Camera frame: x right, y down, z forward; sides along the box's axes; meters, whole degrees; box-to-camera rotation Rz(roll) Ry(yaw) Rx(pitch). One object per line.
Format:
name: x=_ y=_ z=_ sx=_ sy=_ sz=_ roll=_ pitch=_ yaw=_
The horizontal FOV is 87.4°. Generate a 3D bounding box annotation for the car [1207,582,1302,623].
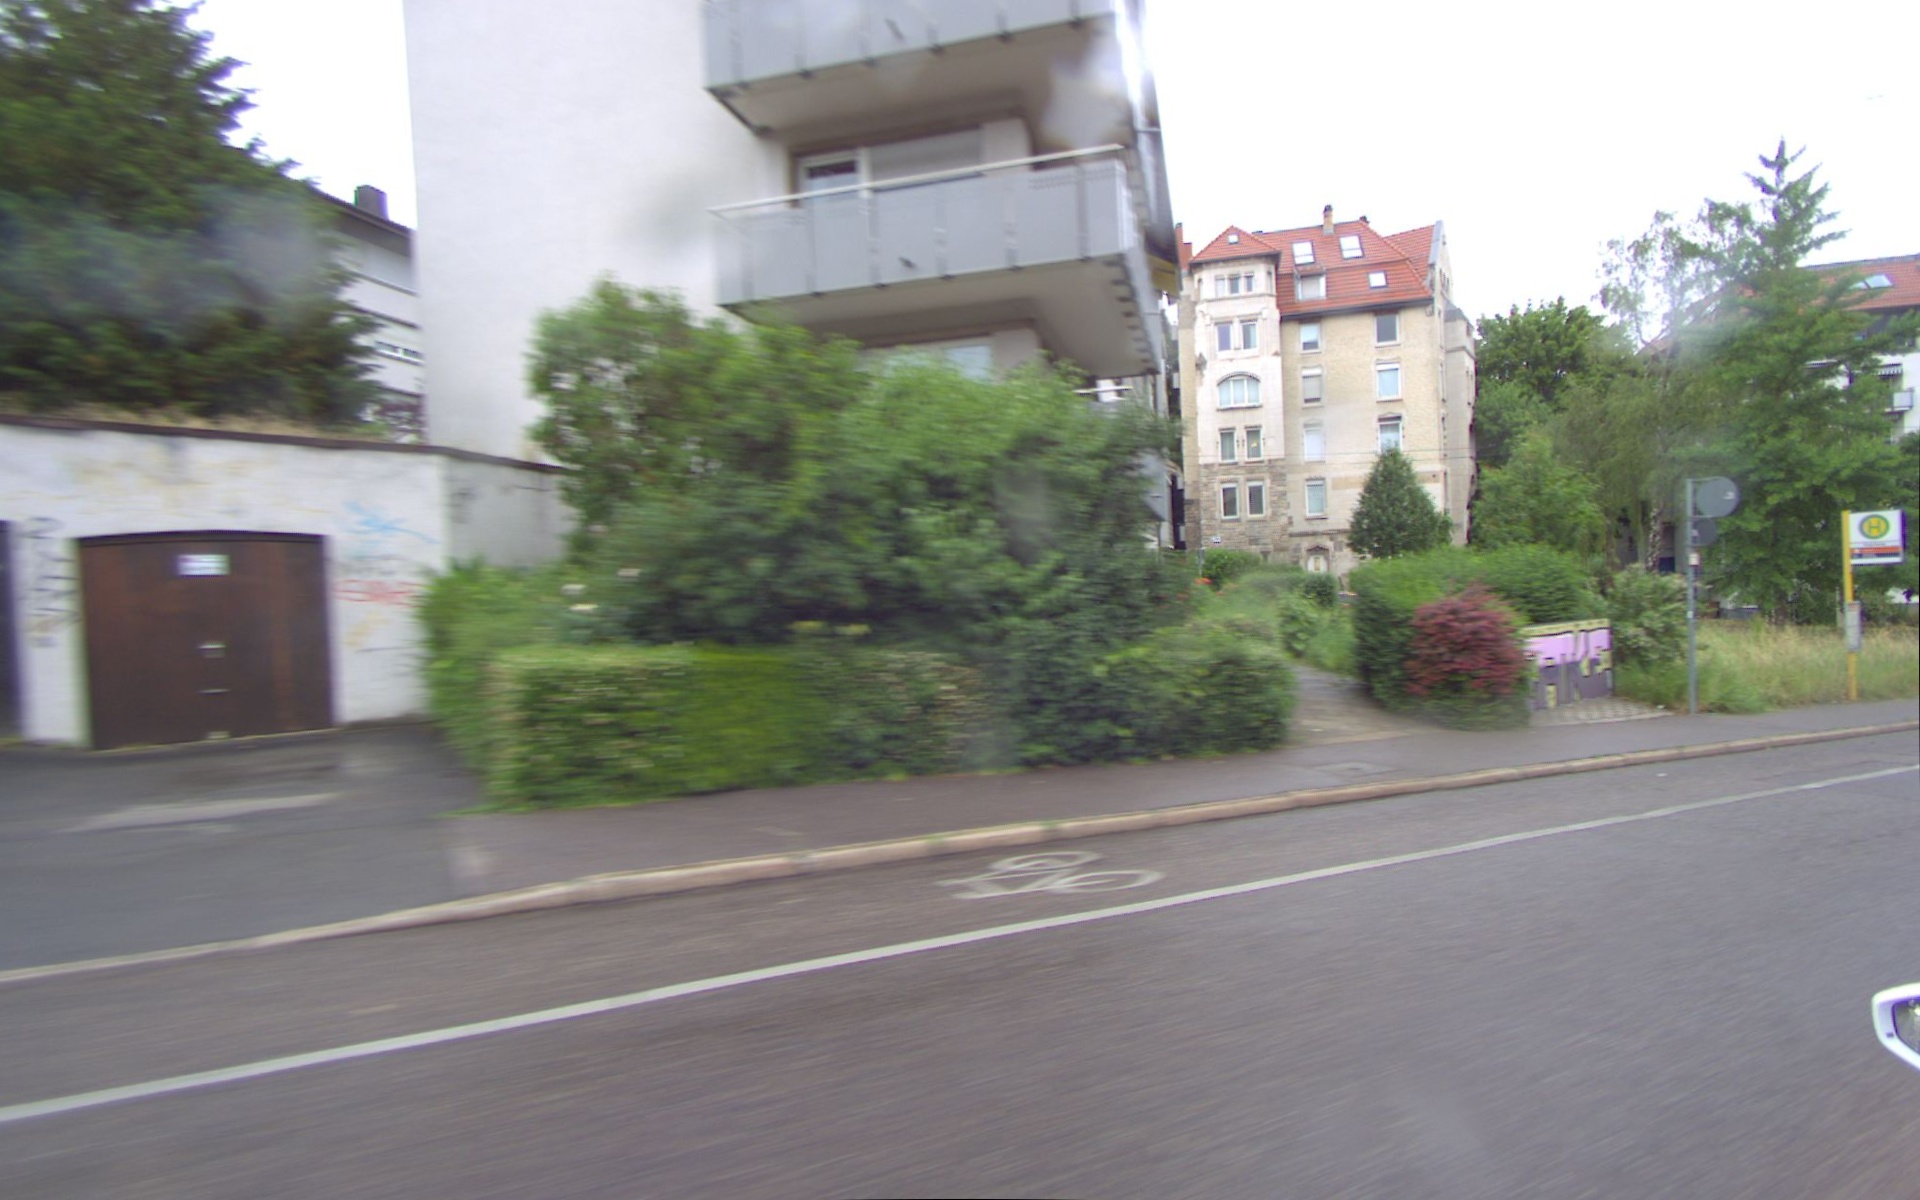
car: x=13.910 y=0.080 z=47.648 sx=4.197 sy=1.859 sz=1.807 roll=1 pitch=1 yaw=12

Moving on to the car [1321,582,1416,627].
car: x=18.905 y=0.206 z=46.645 sx=3.920 sy=2.040 sz=2.000 roll=0 pitch=0 yaw=17
